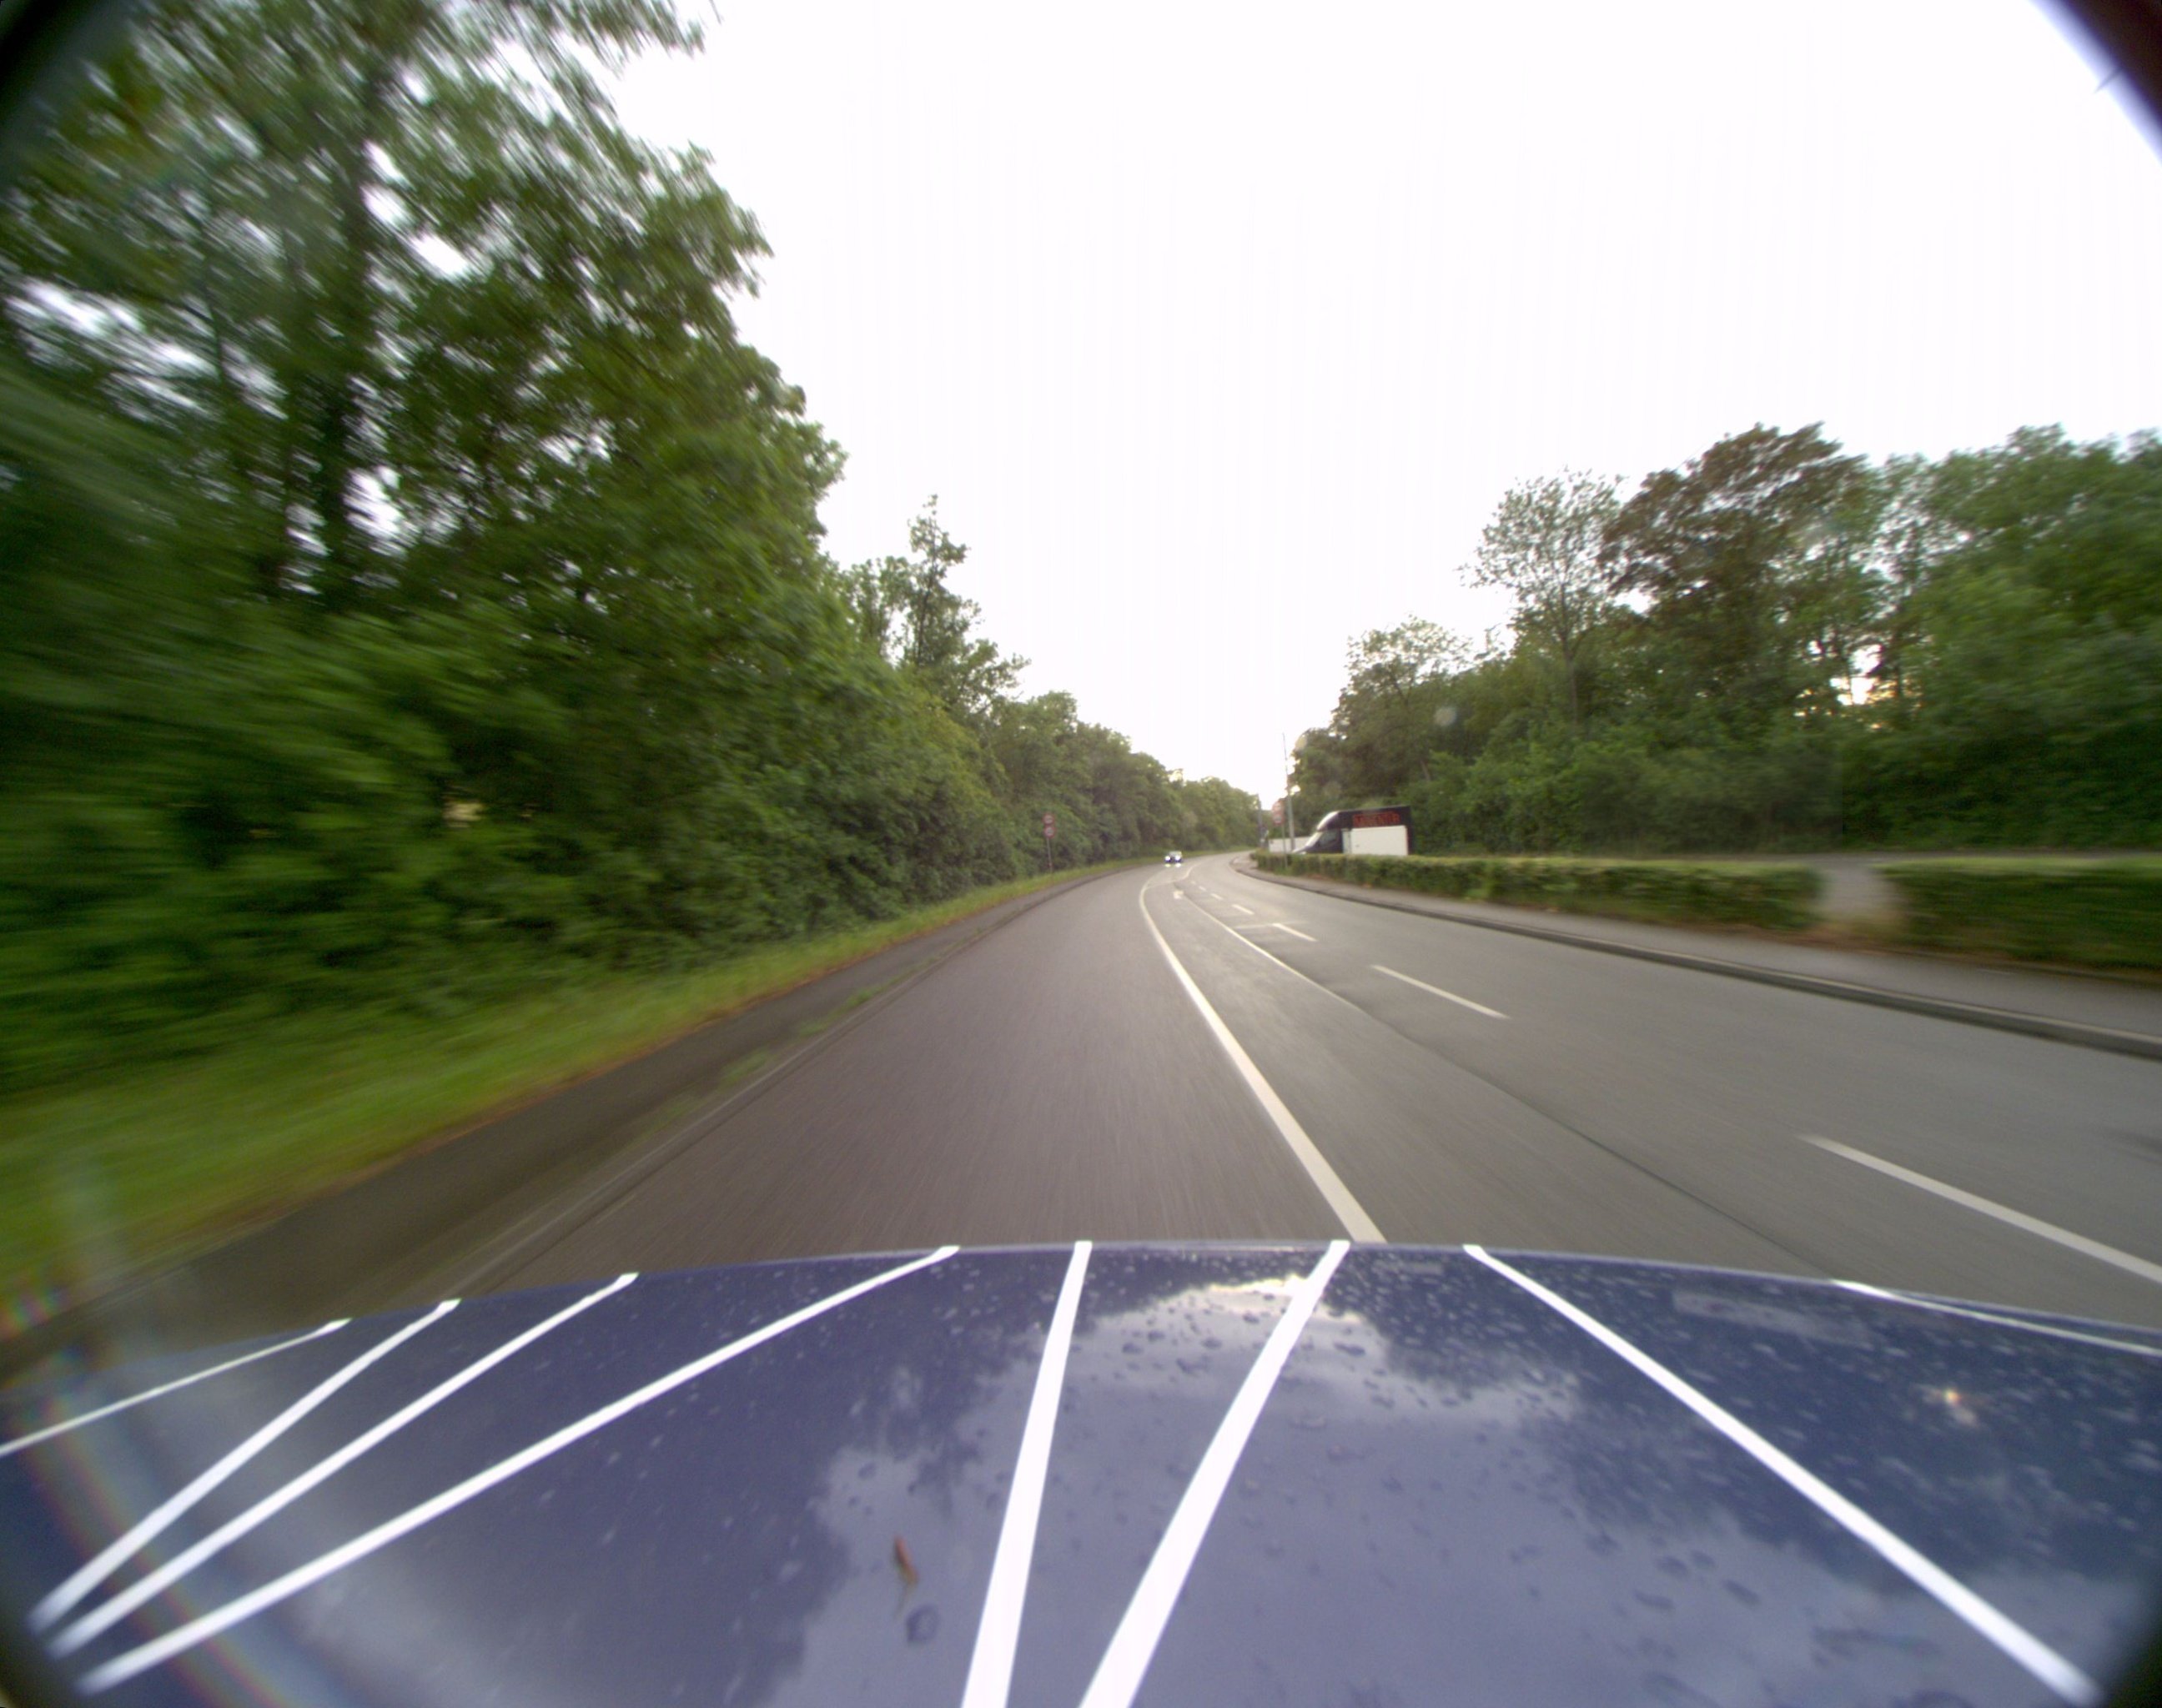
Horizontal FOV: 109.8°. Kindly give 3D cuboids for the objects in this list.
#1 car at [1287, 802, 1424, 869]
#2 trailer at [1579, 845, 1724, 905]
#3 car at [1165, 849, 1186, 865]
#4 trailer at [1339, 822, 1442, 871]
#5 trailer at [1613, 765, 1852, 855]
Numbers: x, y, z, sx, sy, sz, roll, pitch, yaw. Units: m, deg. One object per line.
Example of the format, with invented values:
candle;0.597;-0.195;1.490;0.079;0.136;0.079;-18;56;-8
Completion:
car;14.633;-0.998;40.860;6.286;3.096;2.752;-3;2;3
trailer;11.182;0.390;14.975;1.806;1.028;1.334;-3;0;-1
car;11.260;0.358;90.567;1.997;1.674;4.003;-3;1;13
trailer;14.350;-0.353;35.433;3.995;2.041;1.873;-3;1;6
trailer;24.280;-1.477;29.043;2.481;2.857;7.978;-3;1;3
